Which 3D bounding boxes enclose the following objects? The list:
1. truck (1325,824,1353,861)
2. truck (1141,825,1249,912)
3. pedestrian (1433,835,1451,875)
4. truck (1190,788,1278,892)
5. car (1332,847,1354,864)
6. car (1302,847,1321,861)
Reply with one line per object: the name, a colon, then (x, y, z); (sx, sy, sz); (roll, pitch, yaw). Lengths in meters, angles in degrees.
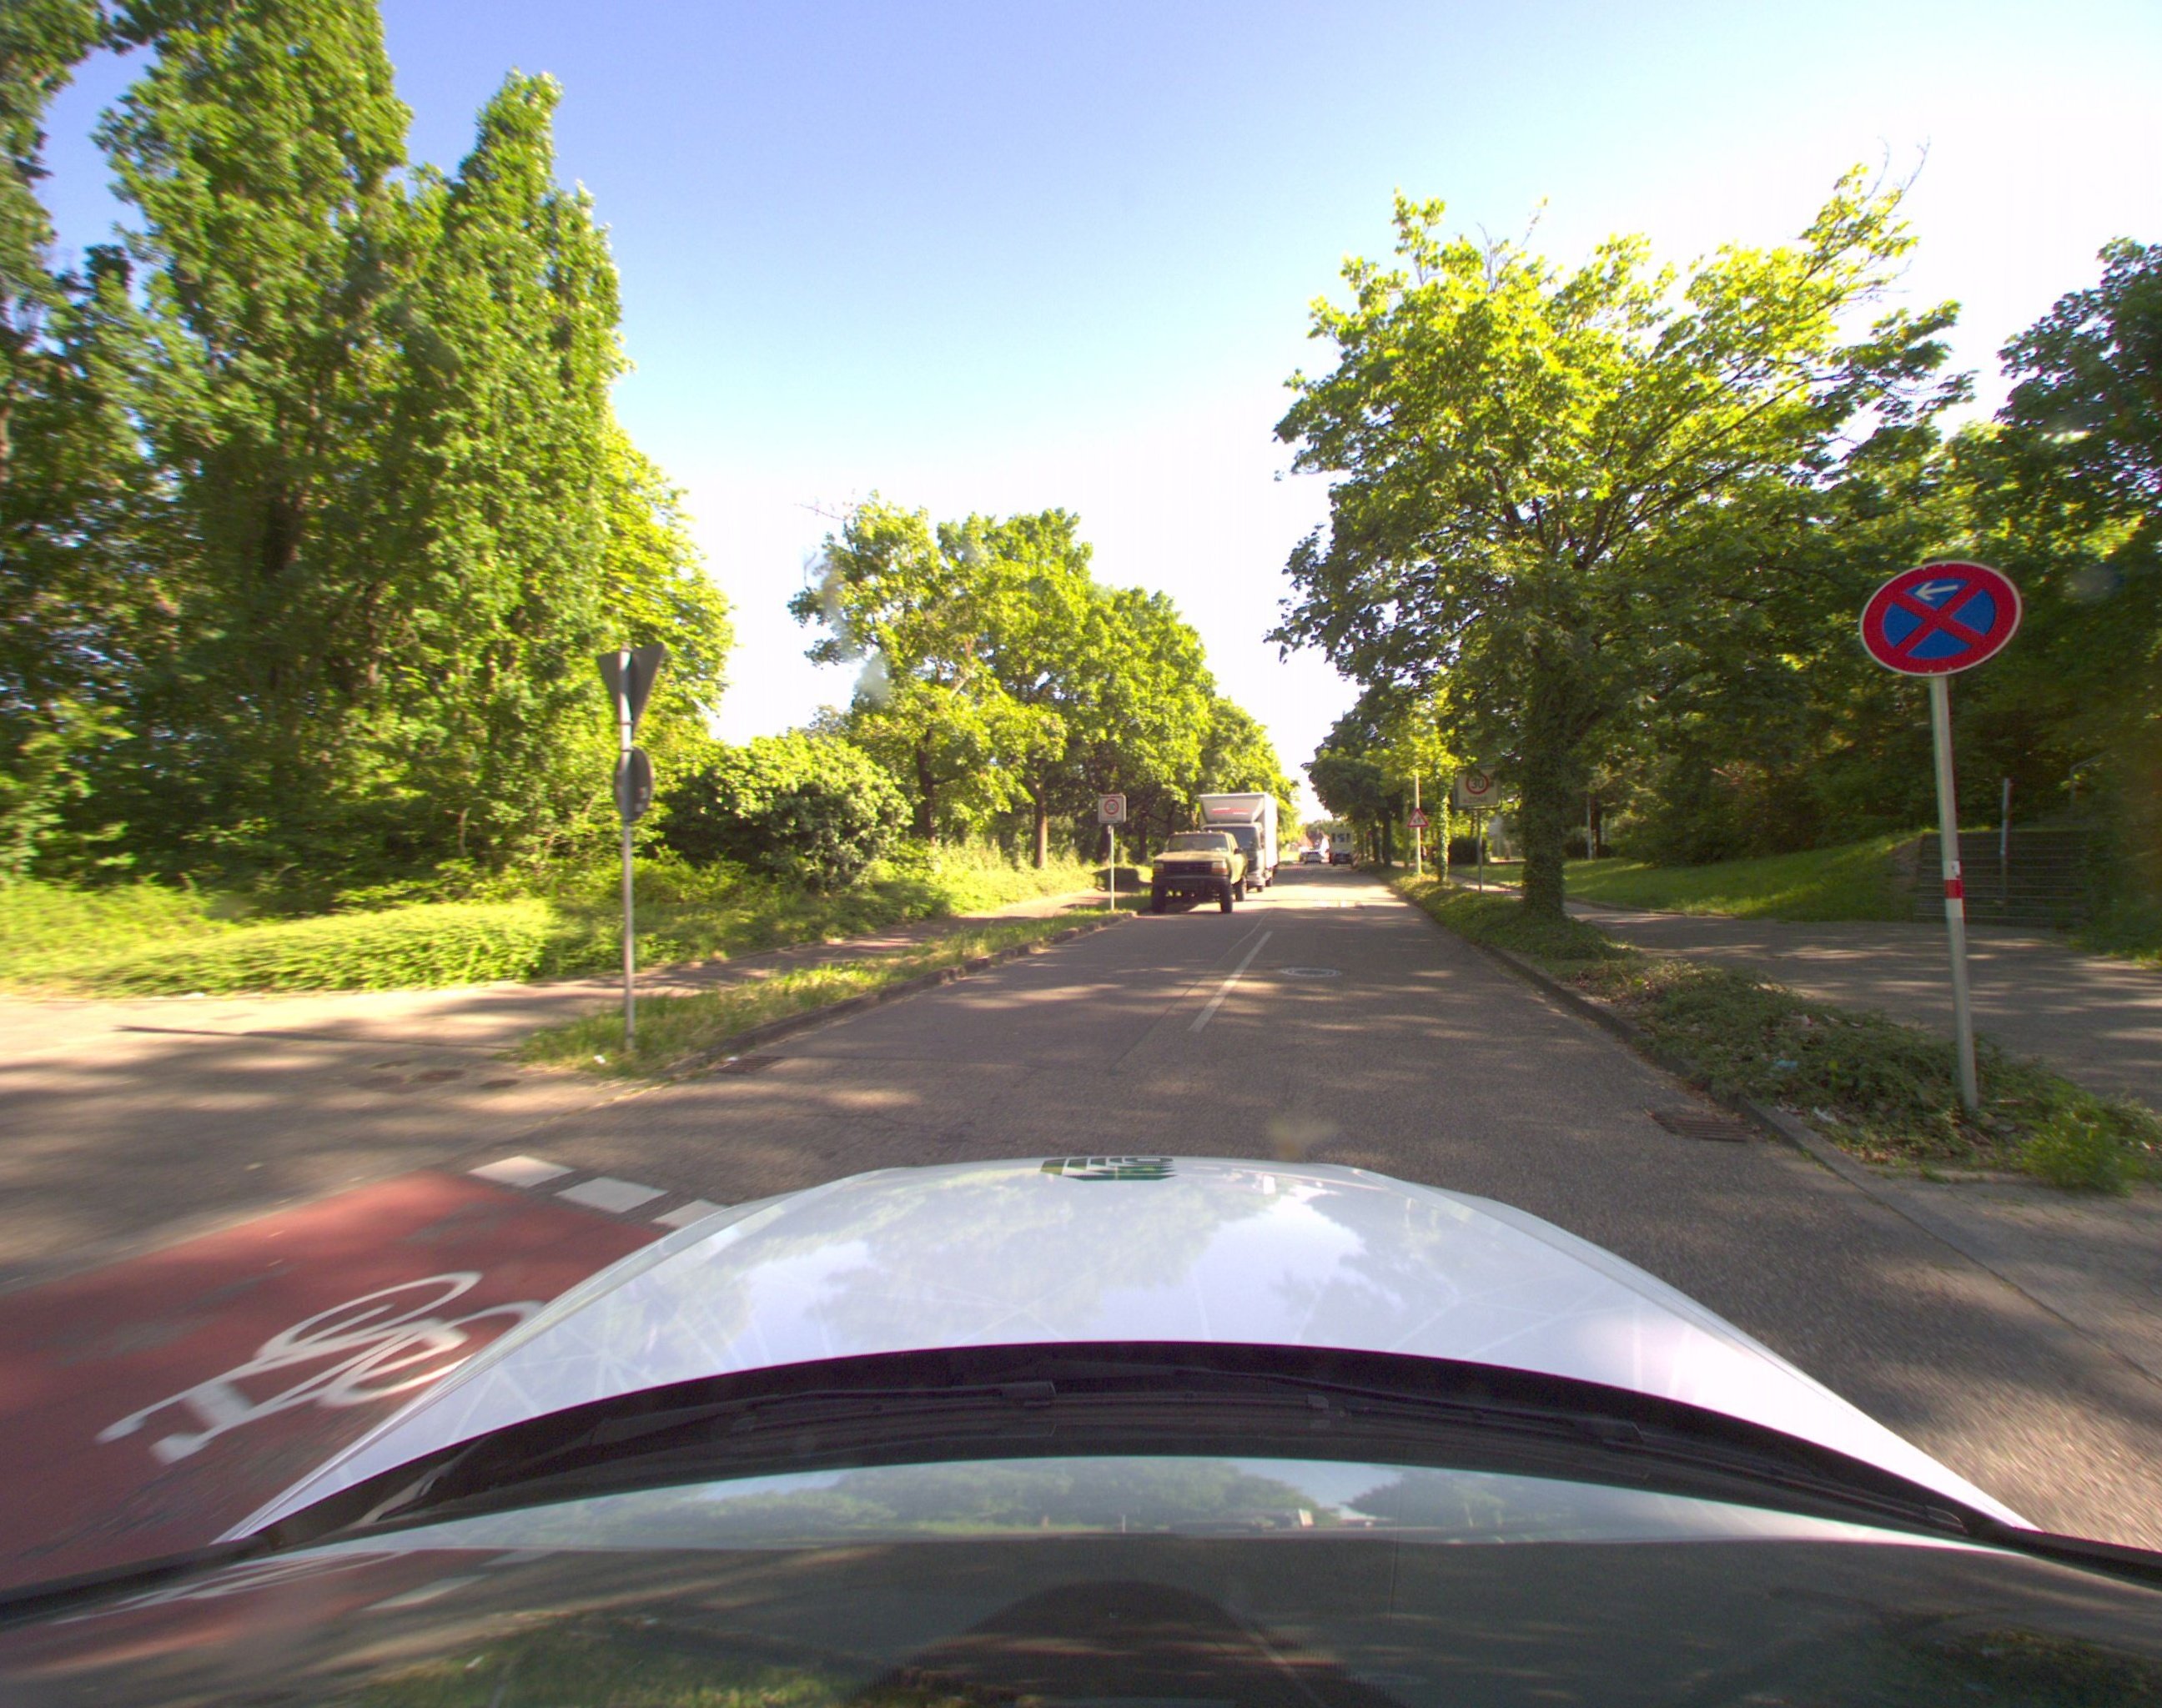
truck: (29.372, -1.243, 92.801); (2.865, 3.944, 10.046); (0, 0, 18)
truck: (3.433, 0.358, 23.123); (2.097, 2.094, 6.676); (-1, 0, 16)
pedestrian: (16.781, 0.044, 37.867); (0.643, 1.820, 0.653); (-1, 0, 17)
truck: (6.312, -0.496, 32.590); (2.594, 3.627, 7.991); (-1, 0, 16)
car: (23.000, 0.118, 71.499); (1.780, 1.510, 4.018); (-1, 0, 18)
car: (24.888, 0.017, 87.861); (1.780, 1.510, 4.018); (-1, 0, 18)
